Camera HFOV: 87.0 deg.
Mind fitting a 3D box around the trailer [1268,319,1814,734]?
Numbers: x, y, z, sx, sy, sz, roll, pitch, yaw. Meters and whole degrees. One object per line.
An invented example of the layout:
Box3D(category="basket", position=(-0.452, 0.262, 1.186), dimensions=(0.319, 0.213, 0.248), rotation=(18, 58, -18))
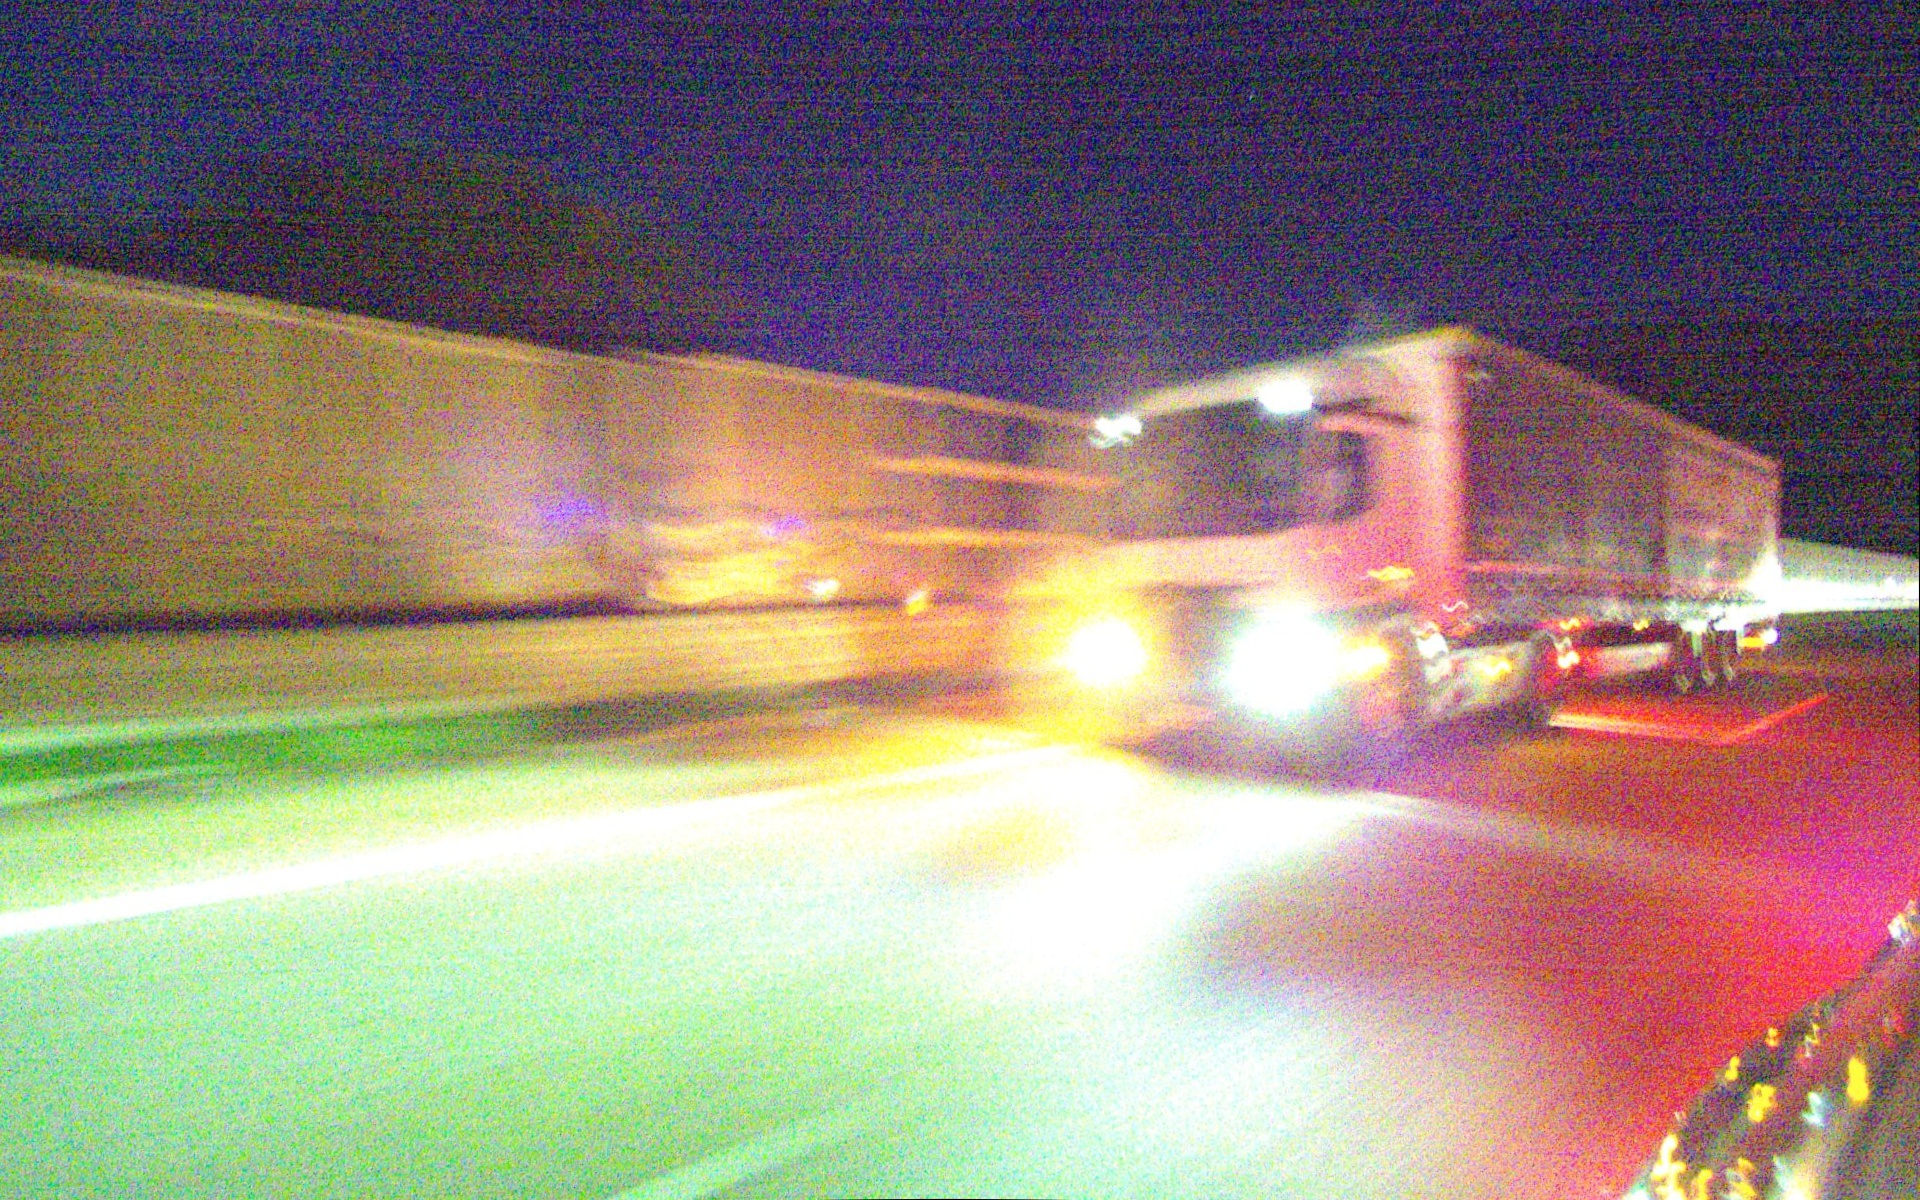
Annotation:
Box3D(category="trailer", position=(9.623, -0.870, 15.342), dimensions=(12.972, 4.117, 2.860), rotation=(-1, 3, -40))

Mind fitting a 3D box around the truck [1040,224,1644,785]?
Box3D(category="truck", position=(4.516, -0.802, 10.976), dimensions=(7.379, 4.127, 2.868), rotation=(-1, 3, -41))
